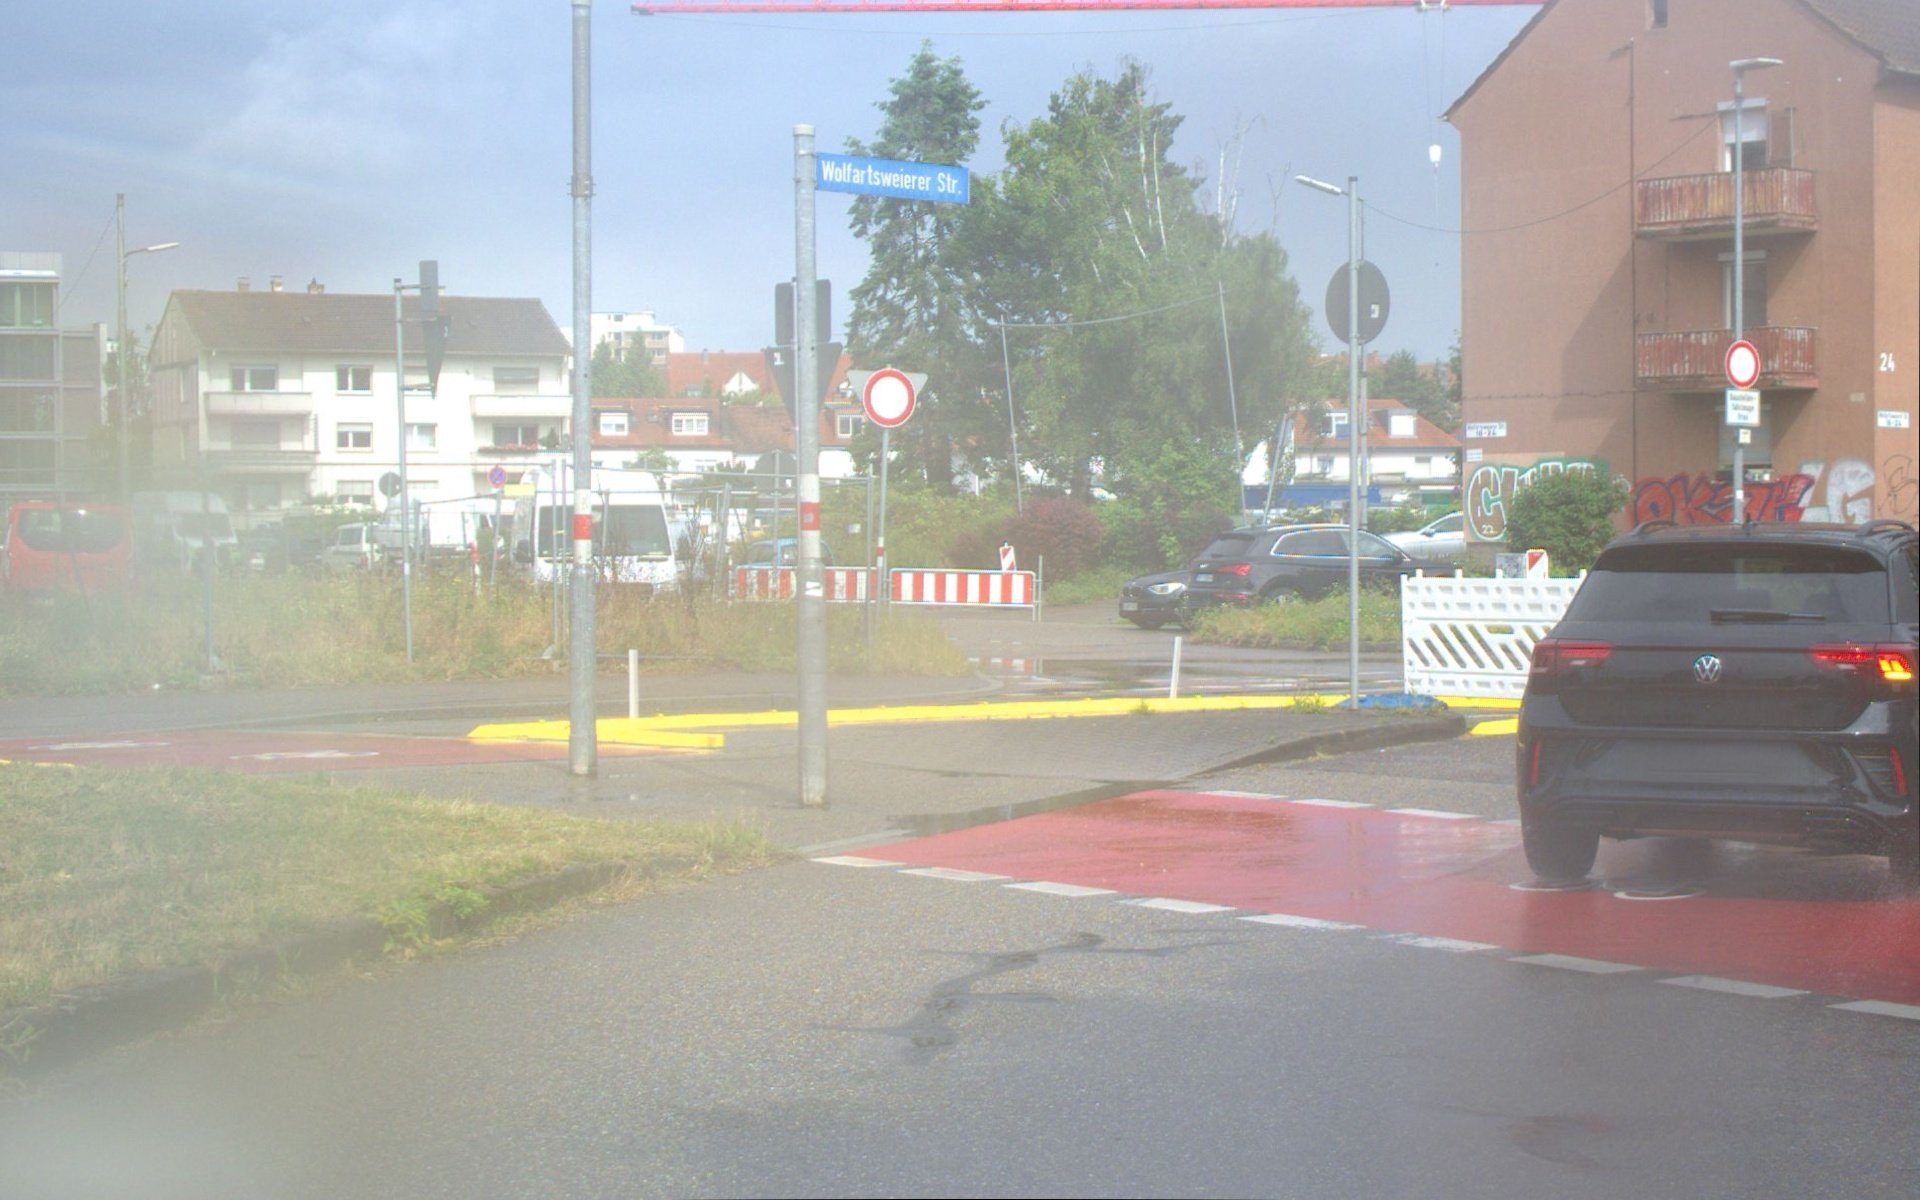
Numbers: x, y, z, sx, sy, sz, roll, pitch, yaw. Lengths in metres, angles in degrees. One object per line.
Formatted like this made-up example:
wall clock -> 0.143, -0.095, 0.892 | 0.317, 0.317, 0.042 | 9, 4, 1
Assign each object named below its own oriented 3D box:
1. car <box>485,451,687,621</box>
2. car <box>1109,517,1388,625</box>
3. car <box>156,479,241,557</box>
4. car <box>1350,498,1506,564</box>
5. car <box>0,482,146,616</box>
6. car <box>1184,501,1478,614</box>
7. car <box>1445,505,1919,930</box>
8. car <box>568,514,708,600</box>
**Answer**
car -> -5.279, -0.966, 47.761 | 2.036, 2.077, 6.269 | 0, 4, -13
car -> 4.466, -0.472, 53.463 | 4.044, 1.627, 1.617 | 0, 1, -10
car -> -22.333, -2.416, 100.714 | 2.372, 2.077, 4.973 | 0, 4, -13
car -> 11.018, -1.627, 80.809 | 3.512, 1.514, 1.616 | 0, 1, 13
car -> -12.663, -0.761, 48.533 | 1.923, 1.694, 4.002 | 0, 4, -18
car -> 5.481, -0.650, 50.960 | 4.044, 1.627, 1.617 | 0, 1, -10
car -> 3.585, 0.393, 15.455 | 1.899, 1.612, 3.996 | 1, 2, 22
car -> -8.106, -1.104, 86.250 | 1.993, 2.116, 4.000 | -1, 2, -30
